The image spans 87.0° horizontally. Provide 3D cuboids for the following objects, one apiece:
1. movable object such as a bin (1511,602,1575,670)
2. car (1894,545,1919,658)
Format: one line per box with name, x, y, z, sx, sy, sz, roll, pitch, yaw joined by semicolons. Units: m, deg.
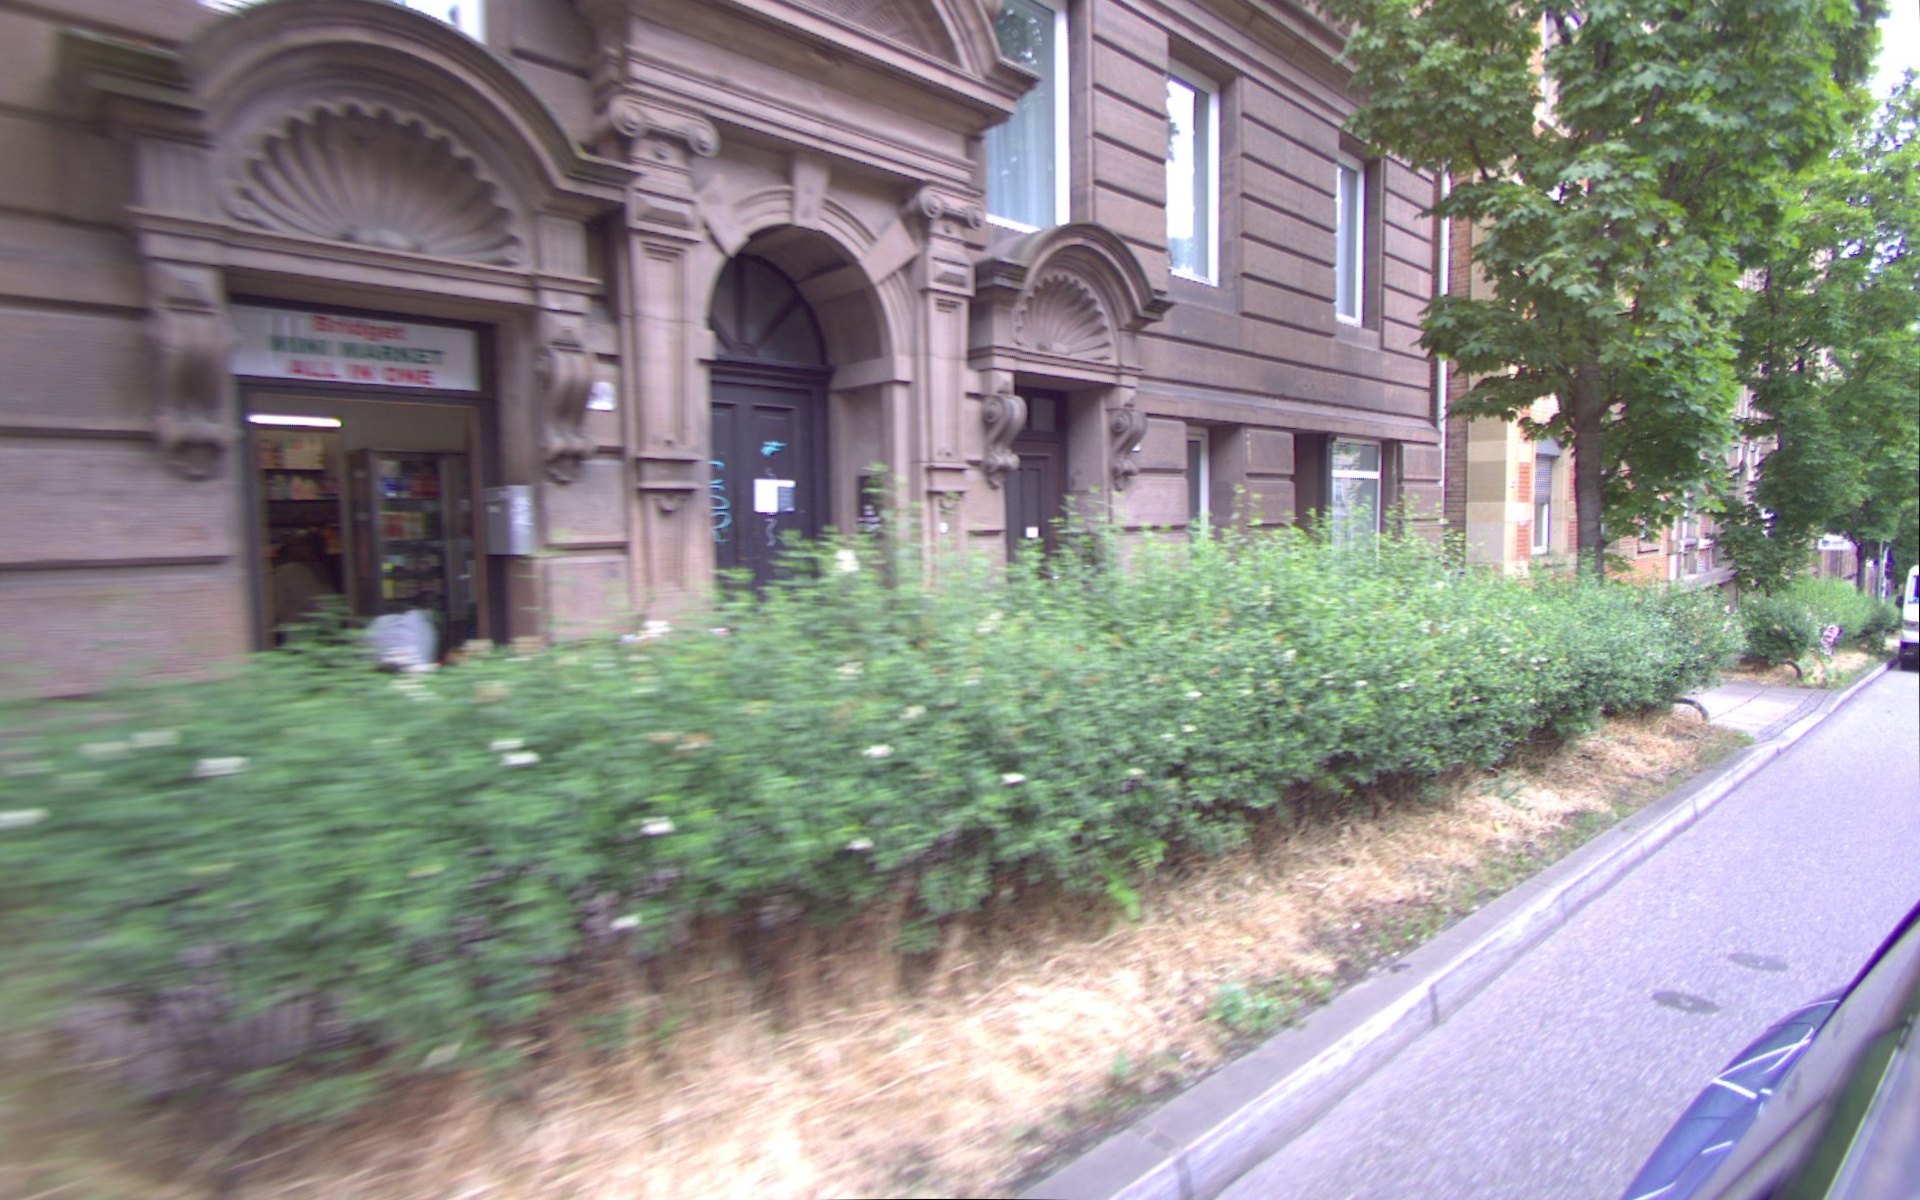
movable object such as a bin;8.778;0.527;15.238;0.529;0.954;0.672;0;2;-40
car;22.434;0.051;22.430;5.870;2.316;2.259;0;1;-45
